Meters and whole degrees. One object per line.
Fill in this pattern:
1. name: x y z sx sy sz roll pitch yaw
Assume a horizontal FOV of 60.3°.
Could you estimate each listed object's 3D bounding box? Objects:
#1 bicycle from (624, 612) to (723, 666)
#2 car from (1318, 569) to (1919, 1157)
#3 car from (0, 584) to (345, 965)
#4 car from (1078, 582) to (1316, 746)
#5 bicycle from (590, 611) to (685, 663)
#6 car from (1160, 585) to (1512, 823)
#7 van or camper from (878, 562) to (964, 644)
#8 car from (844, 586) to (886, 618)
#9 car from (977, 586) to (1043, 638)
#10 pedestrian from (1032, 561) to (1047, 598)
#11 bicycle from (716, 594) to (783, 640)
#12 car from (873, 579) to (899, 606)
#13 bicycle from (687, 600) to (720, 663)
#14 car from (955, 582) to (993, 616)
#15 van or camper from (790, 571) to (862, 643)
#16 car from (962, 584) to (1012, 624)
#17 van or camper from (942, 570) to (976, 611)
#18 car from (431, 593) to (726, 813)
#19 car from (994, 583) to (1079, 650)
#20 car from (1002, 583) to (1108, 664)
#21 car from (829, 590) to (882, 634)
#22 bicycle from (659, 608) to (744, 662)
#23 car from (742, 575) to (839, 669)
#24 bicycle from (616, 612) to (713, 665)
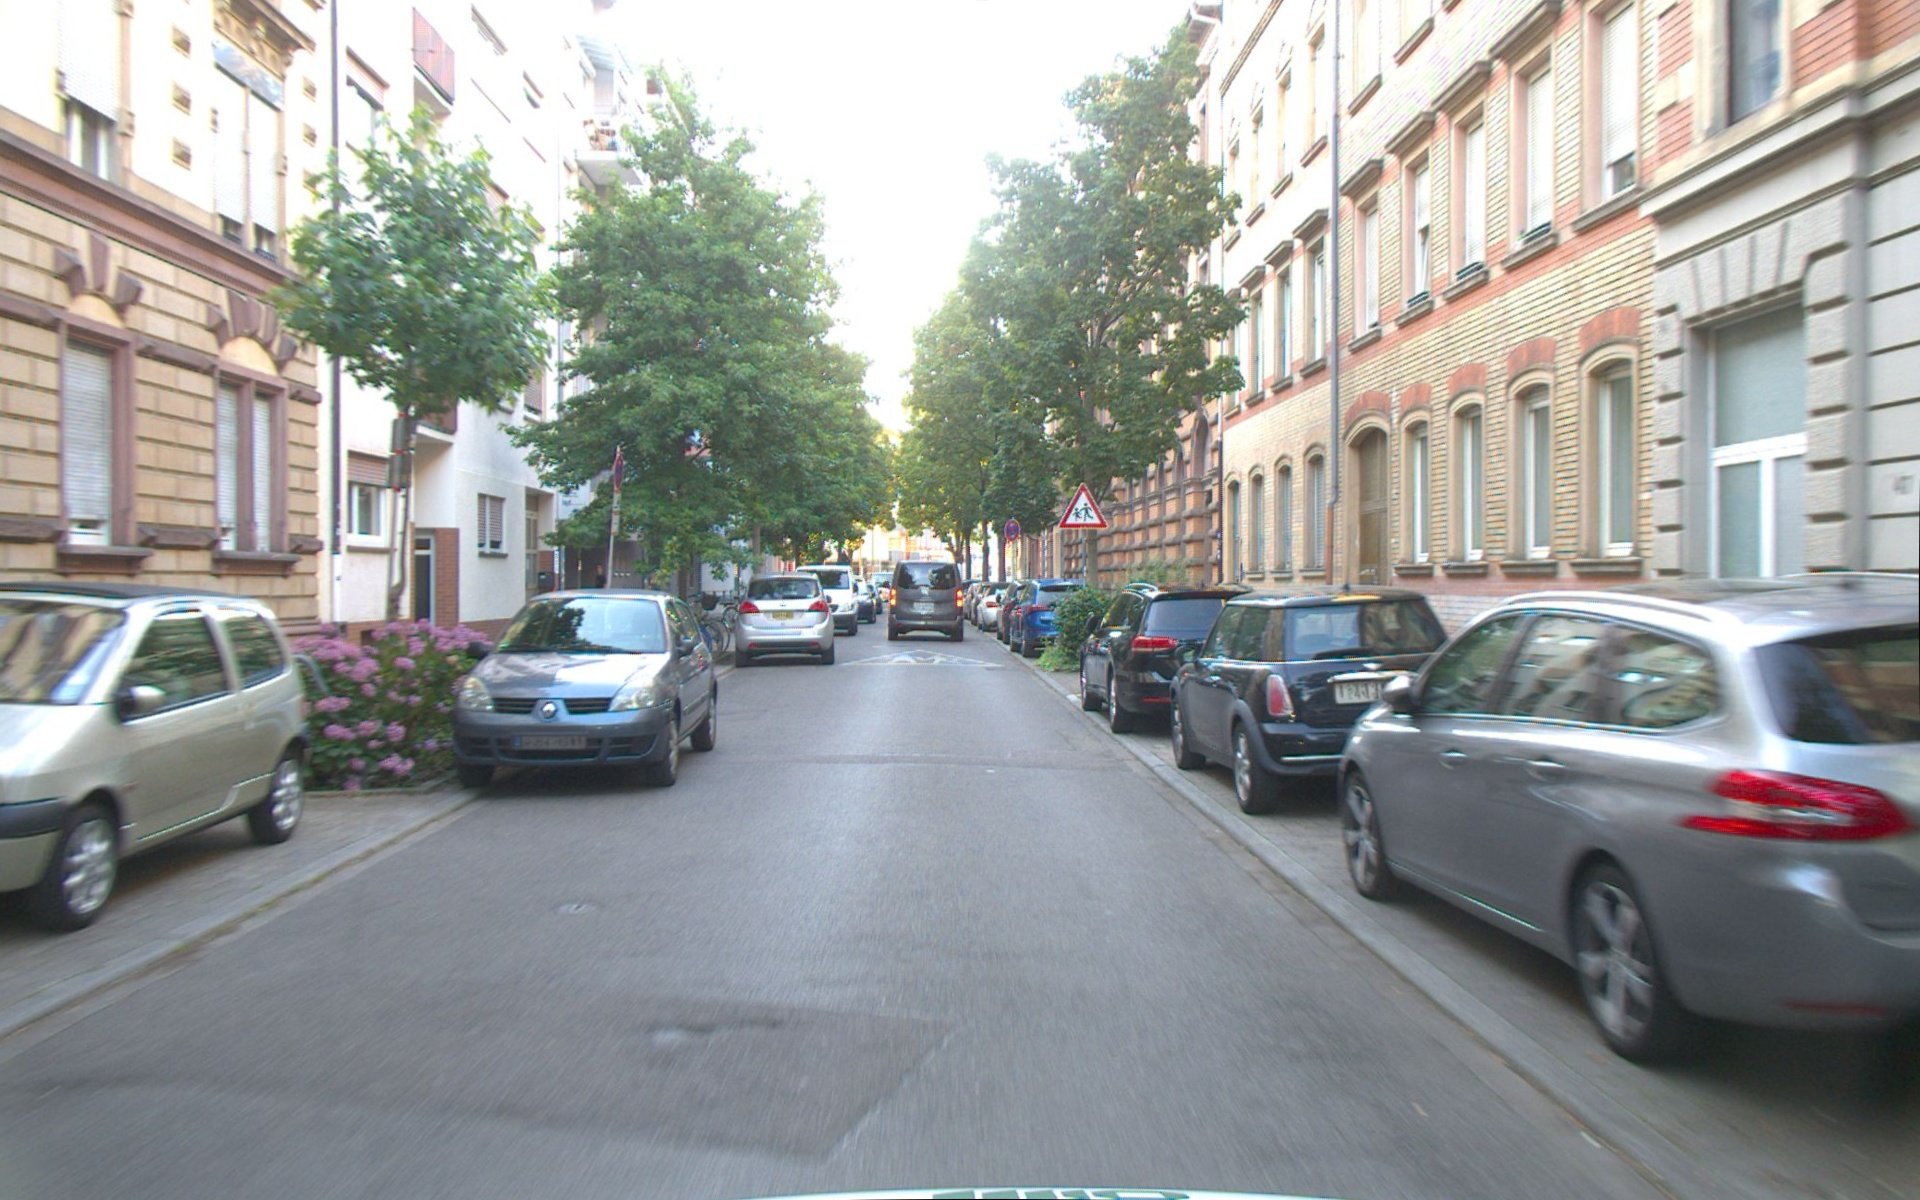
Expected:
1. bicycle: -4.991 0.674 28.848 1.682 0.923 0.379 0 0 -32
2. car: 2.865 0.655 6.571 1.683 1.502 4.365 -2 1 -3
3. car: -4.496 0.675 8.300 1.555 1.462 3.565 1 1 -2
4. car: 2.331 0.560 17.392 1.731 1.439 4.473 -2 1 -1
5. bicycle: -5.760 0.658 29.595 1.643 0.914 0.379 0 0 -32
6. car: 2.585 0.637 12.173 1.603 1.449 3.562 -1 1 -3
7. van or camper: -0.917 0.059 41.140 1.993 1.930 4.271 0 0 0
8. car: -4.457 0.069 78.082 1.809 1.477 4.501 0 0 -1
9. car: 1.458 0.330 49.500 1.659 1.426 4.644 -1 1 -2
10. pedestrian: 3.531 -0.911 73.794 0.614 1.677 0.531 0 0 -1
11. bicycle: -5.671 0.441 44.617 0.686 1.184 1.813 0 1 40
12. car: -4.569 -0.450 102.313 1.597 1.455 3.542 -1 3 -3
13. bicycle: -4.764 0.575 30.800 0.411 1.123 1.664 1 0 -2
14. car: 0.667 -0.080 80.519 1.580 1.586 3.764 -1 1 -3
15. van or camper: -3.650 0.150 45.690 1.839 1.875 4.750 -1 1 -3
16. car: 1.074 0.139 66.733 1.664 1.508 3.997 -2 1 -4
17. van or camper: -0.111 -0.631 108.718 1.954 2.644 5.421 0 0 -3
18. car: -2.830 0.681 13.005 1.548 1.445 3.752 -1 0 -2
19. car: 1.775 0.358 39.670 1.677 1.503 4.191 0 1 -2
20. car: 1.808 0.412 32.727 1.595 1.492 4.243 -1 1 -4
21. car: -3.761 0.417 60.118 1.793 1.544 4.514 0 0 -2
22. bicycle: -5.070 0.673 32.405 1.694 1.012 0.575 0 1 32
23. car: -3.077 0.362 30.443 1.630 1.590 3.996 -1 1 -5
24. bicycle: -5.218 0.669 29.243 1.682 0.914 0.379 0 0 -32
